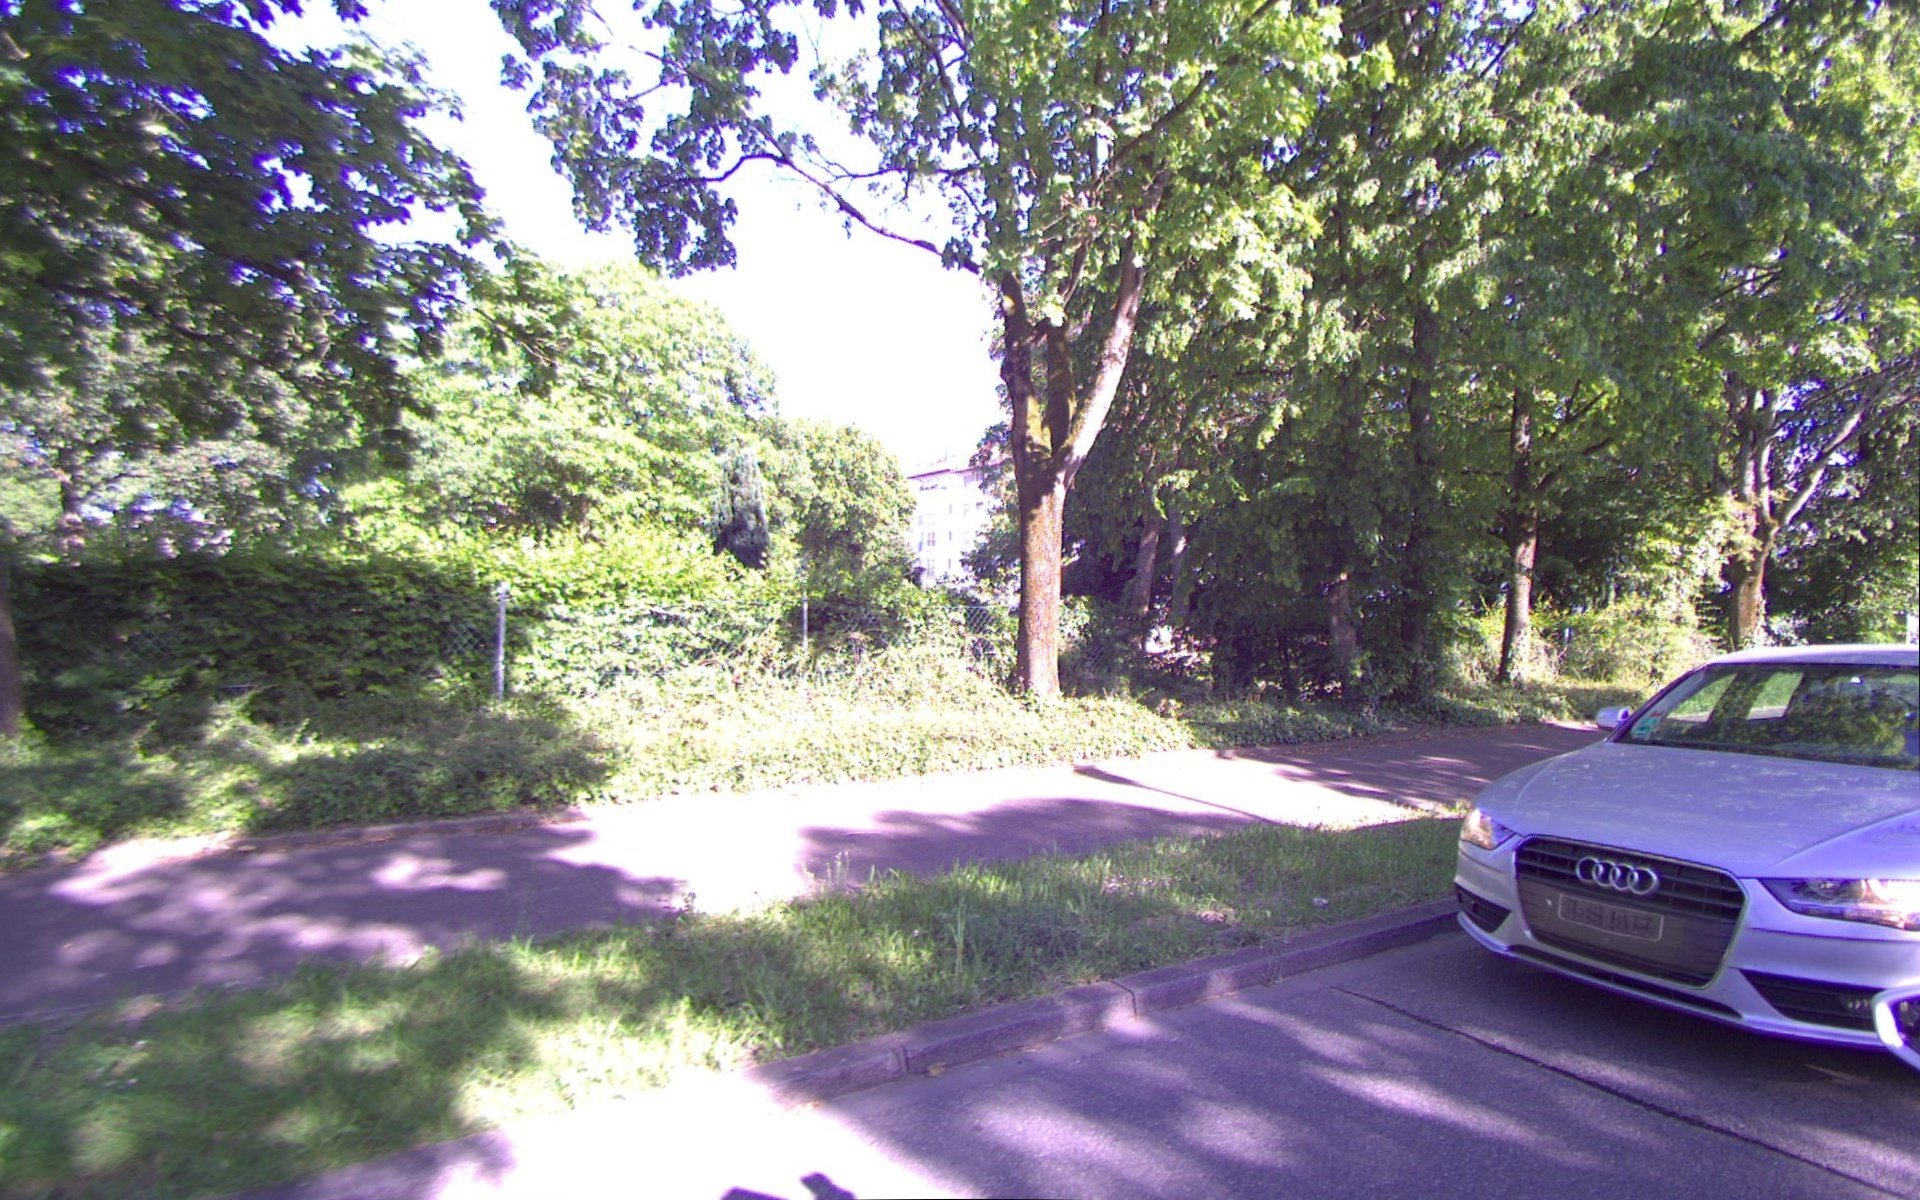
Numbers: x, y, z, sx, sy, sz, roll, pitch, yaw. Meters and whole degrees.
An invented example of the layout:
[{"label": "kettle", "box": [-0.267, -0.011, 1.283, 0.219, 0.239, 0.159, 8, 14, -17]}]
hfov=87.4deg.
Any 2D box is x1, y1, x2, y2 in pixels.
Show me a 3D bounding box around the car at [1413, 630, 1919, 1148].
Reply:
[{"label": "car", "box": [4.108, 0.871, 4.537, 4.057, 1.435, 1.778, 1, -1, -31]}]
